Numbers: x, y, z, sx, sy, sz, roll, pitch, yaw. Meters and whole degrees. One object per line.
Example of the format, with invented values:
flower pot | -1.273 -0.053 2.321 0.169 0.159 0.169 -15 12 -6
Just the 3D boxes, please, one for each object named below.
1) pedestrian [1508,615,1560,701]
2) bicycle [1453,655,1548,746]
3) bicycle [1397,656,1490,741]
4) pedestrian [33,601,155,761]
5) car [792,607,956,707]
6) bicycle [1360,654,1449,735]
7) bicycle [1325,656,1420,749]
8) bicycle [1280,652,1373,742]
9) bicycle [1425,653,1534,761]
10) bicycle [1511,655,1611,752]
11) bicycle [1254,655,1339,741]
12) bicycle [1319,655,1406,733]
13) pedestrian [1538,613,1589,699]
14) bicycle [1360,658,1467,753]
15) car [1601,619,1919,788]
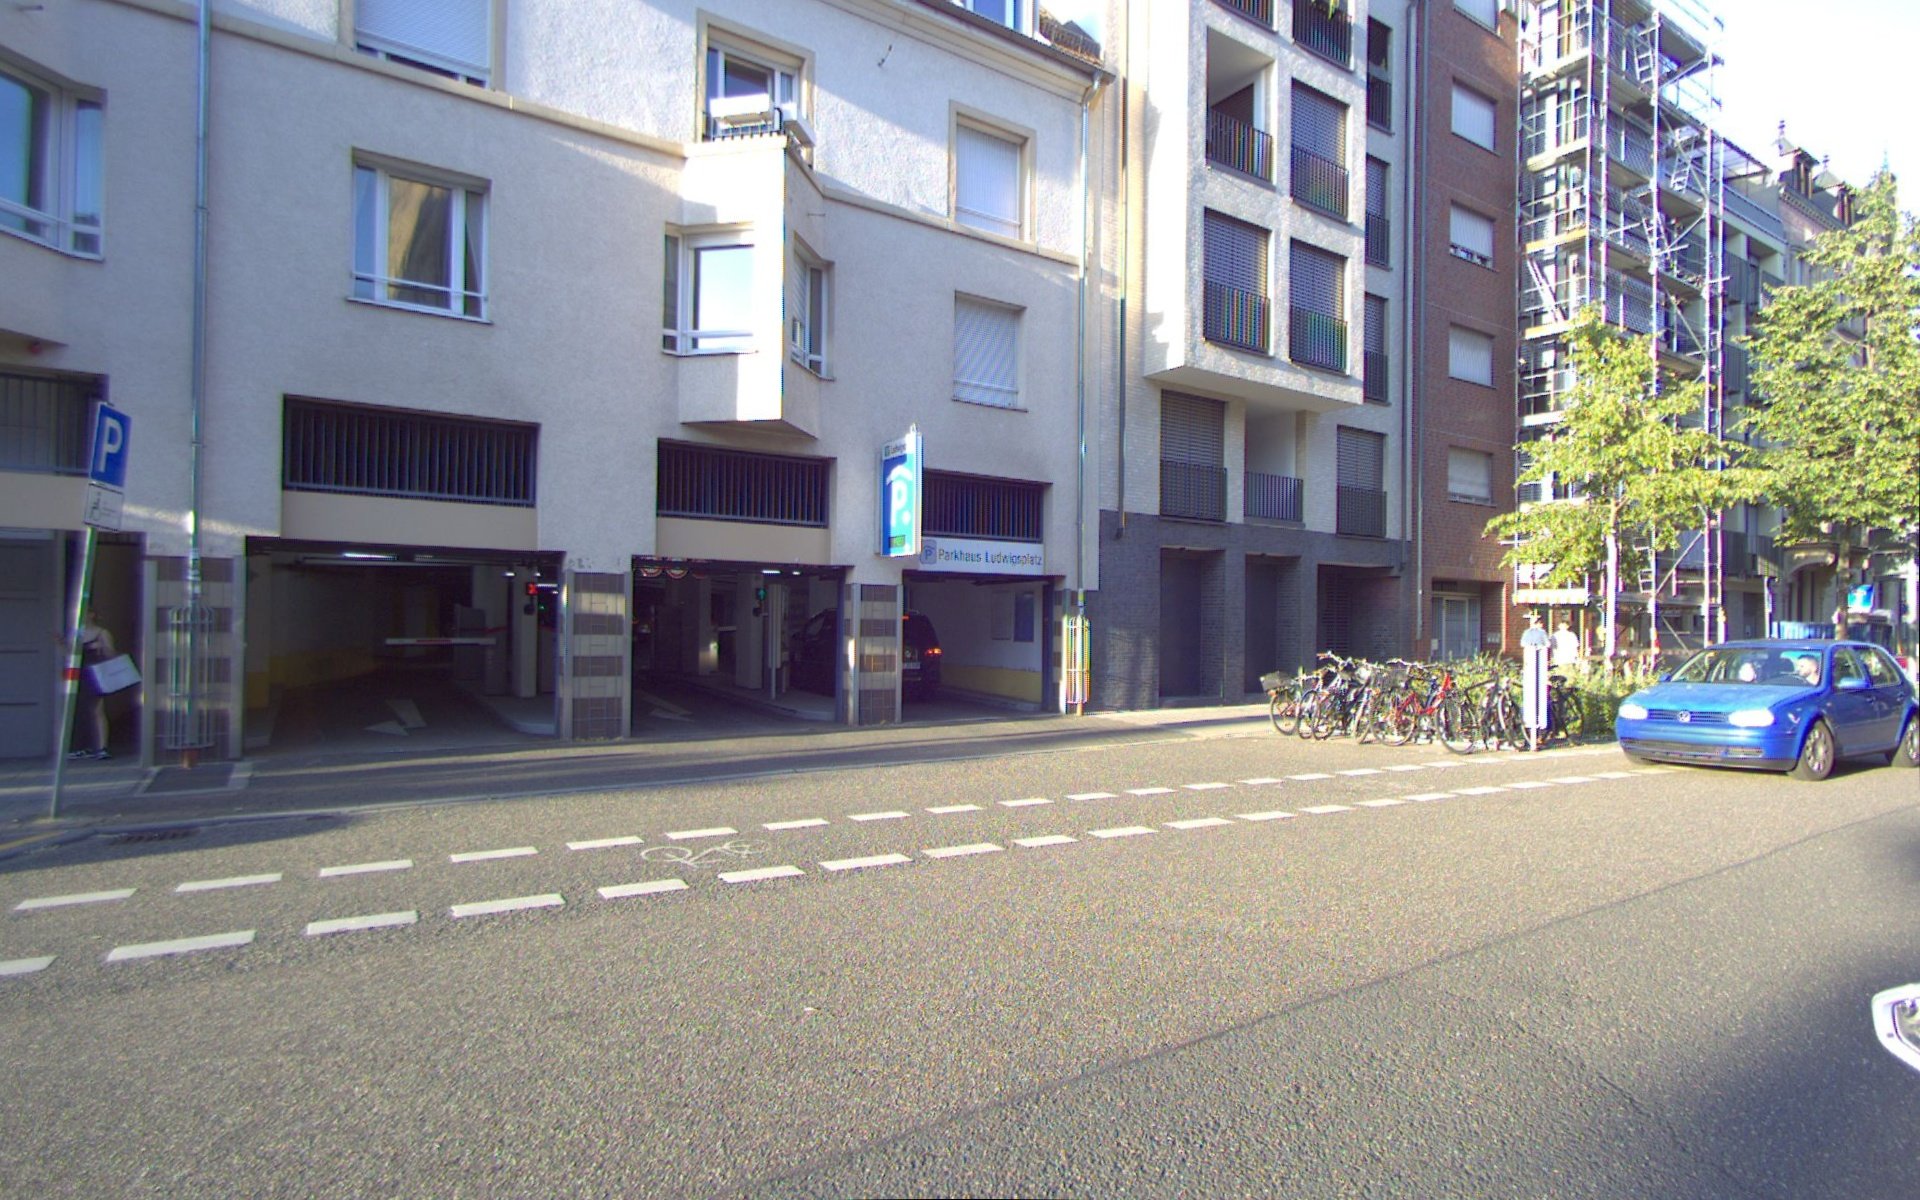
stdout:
pedestrian | 12.280 1.231 21.496 0.649 1.807 0.737 1 -2 -32
bicycle | 7.522 1.366 13.960 1.535 1.178 0.484 2 -1 -33
bicycle | 7.006 1.398 14.533 1.535 1.165 0.484 2 -1 -33
pedestrian | -8.971 0.824 10.433 0.766 1.593 0.532 1 -1 -17
car | -1.712 0.980 18.833 1.543 1.639 3.849 1 -1 -30
bicycle | 6.733 1.403 15.185 1.535 1.159 0.464 2 -1 -33
bicycle | 5.599 1.359 13.601 1.535 1.175 0.378 2 -1 -33
bicycle | 5.209 1.353 14.254 1.535 1.205 0.384 2 -1 -33
bicycle | 6.431 1.290 12.416 1.535 1.237 0.494 2 -1 -33
bicycle | 7.956 1.343 13.285 1.535 1.194 0.504 2 -1 -33
bicycle | 4.944 1.408 14.723 1.390 1.199 0.385 2 -1 -33
bicycle | 6.321 1.453 15.748 1.535 1.147 0.454 2 -1 -33
pedestrian | 12.993 1.201 21.628 0.650 1.807 0.737 1 -2 -34
bicycle | 5.950 1.352 13.158 1.532 1.172 0.415 2 -1 -28
car | 9.126 1.051 11.217 4.071 1.583 1.680 2 -3 -31
